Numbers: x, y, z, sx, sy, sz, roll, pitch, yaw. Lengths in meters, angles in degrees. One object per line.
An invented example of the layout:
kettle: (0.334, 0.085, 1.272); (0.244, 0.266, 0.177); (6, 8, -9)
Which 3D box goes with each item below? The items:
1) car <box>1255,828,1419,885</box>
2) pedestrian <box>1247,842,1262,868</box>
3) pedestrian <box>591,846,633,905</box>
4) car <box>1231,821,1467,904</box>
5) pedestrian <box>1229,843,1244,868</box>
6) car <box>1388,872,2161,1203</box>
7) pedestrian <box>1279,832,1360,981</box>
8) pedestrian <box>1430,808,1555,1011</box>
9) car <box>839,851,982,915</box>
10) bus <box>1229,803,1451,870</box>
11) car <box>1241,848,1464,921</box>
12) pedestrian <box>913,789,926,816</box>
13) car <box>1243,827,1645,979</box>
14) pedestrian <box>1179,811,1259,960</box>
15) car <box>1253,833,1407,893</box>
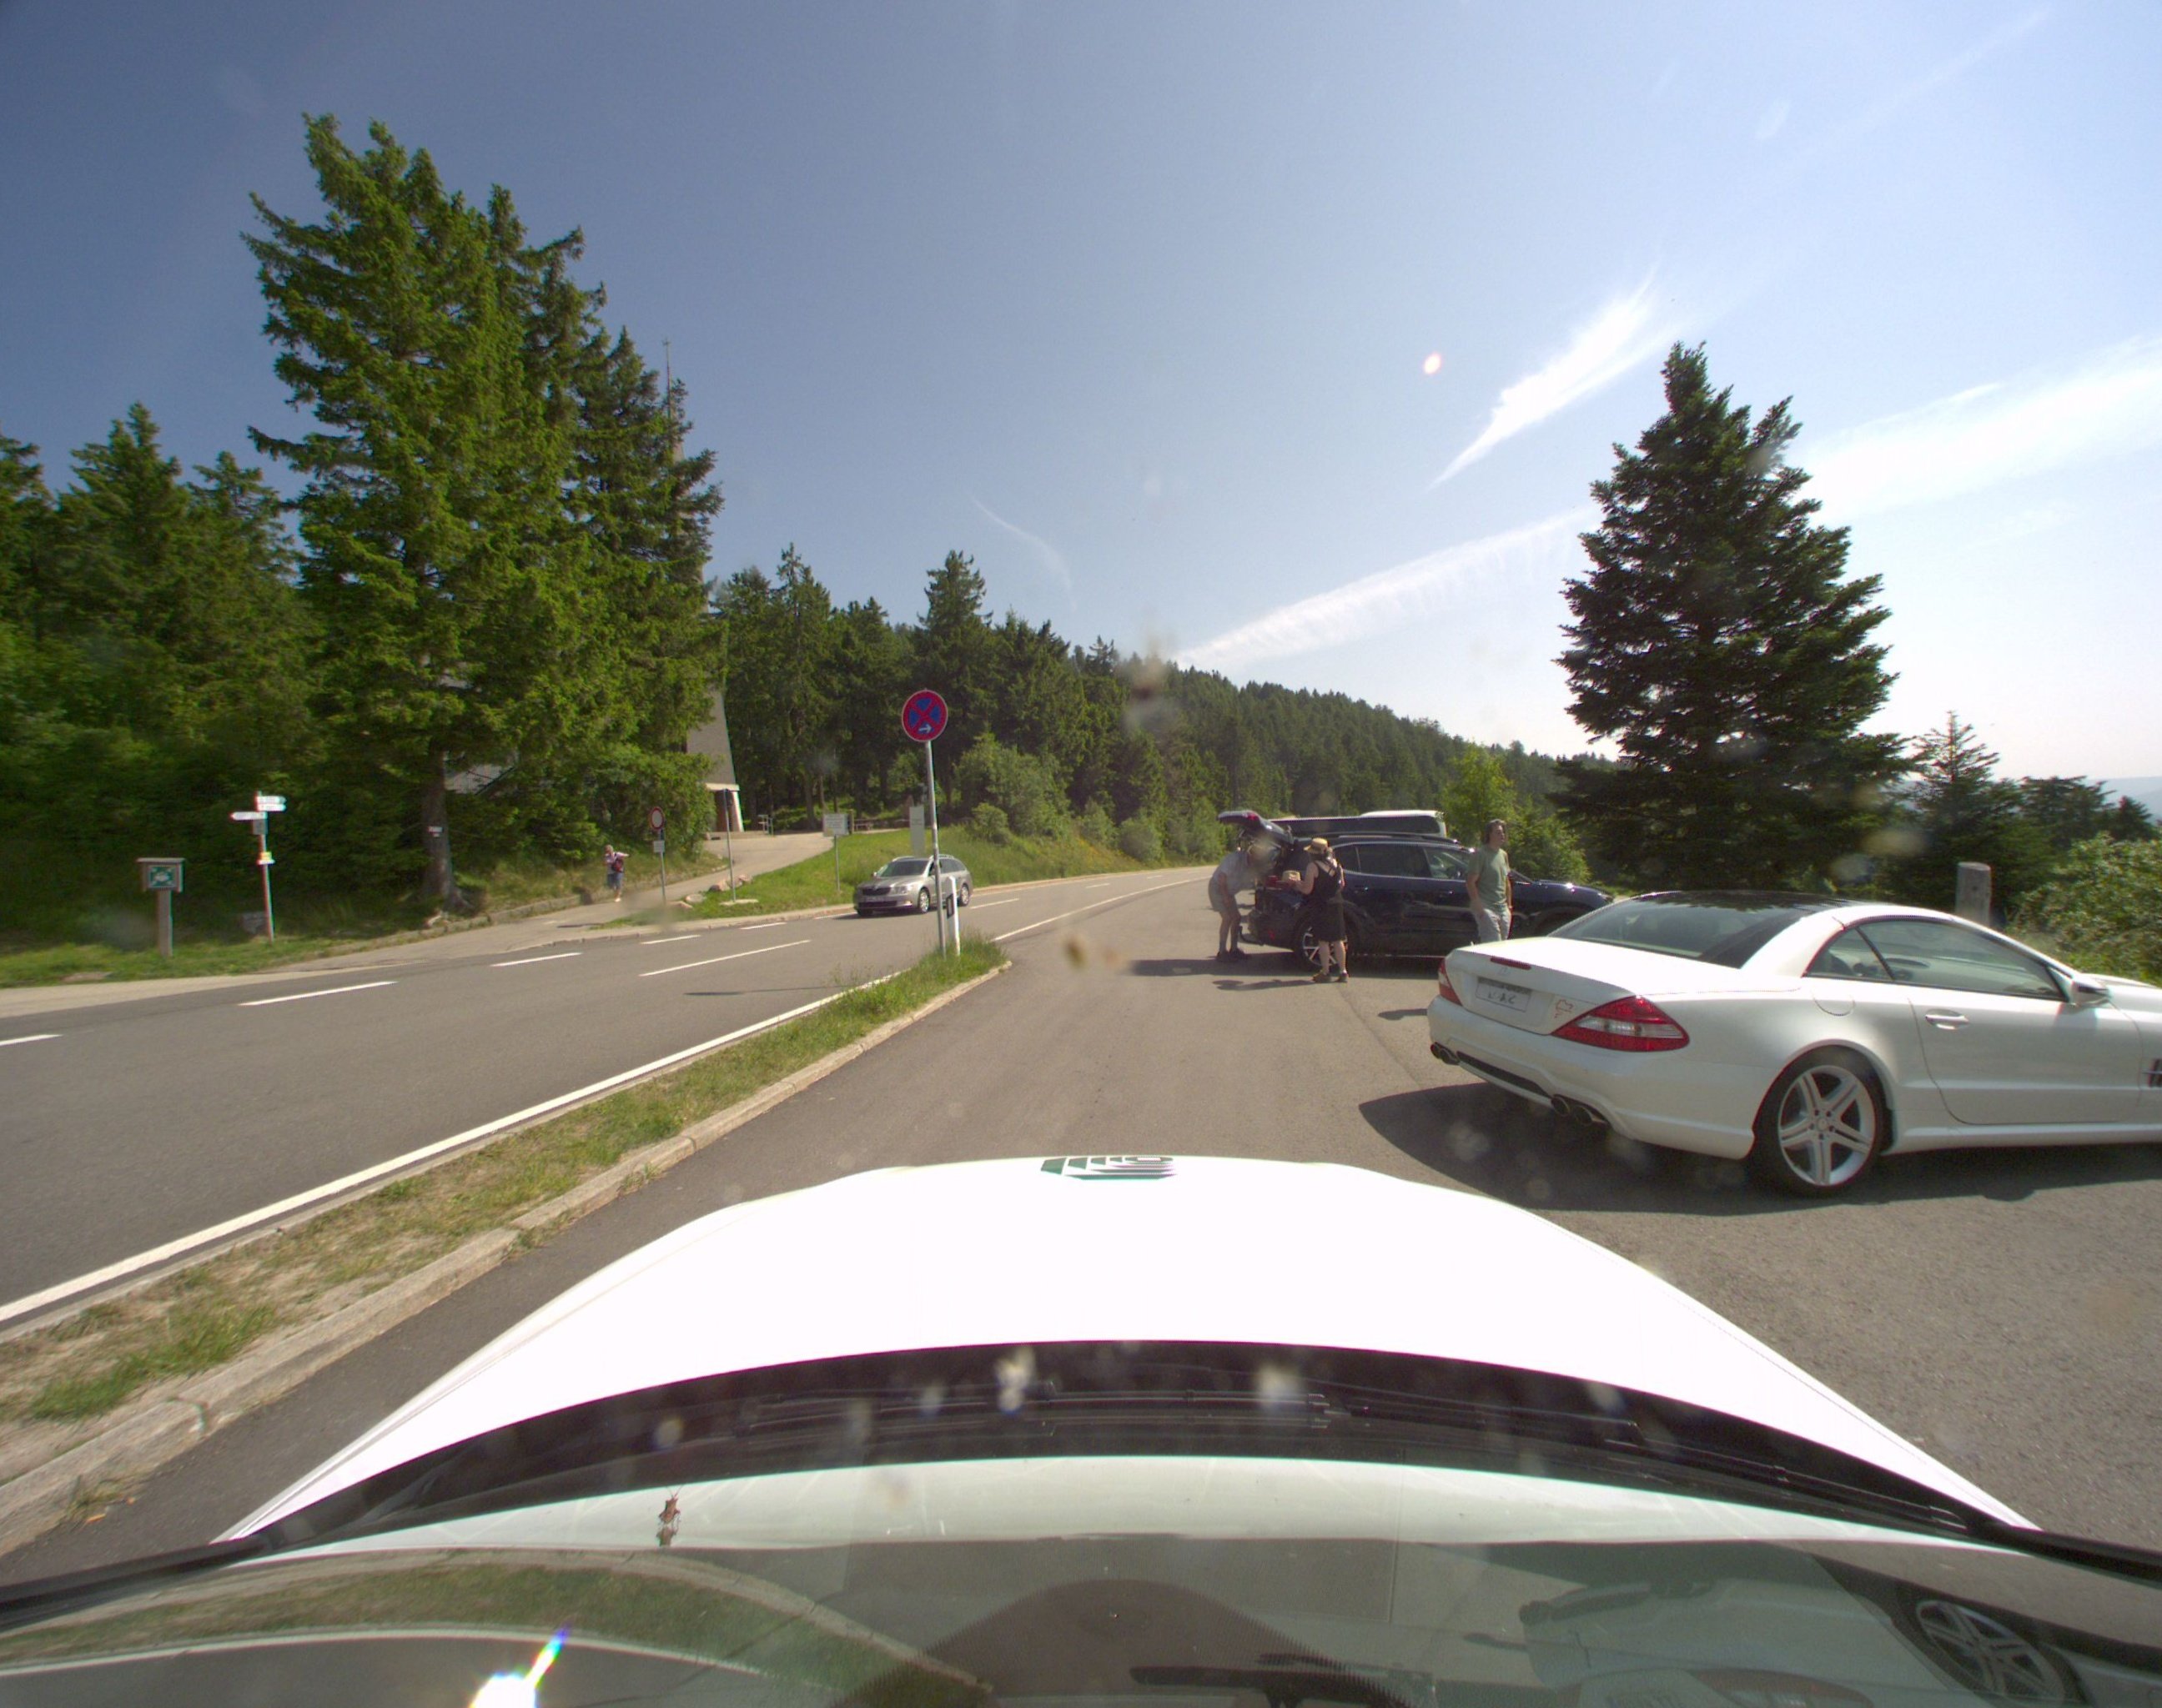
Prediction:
car: (8.472, 0.084, 27.298); (4.998, 1.651, 2.055); (-3, 0, 13)
pedestrian: (10.909, 0.047, 51.190); (0.764, 1.585, 0.776); (-3, 0, 20)
pedestrian: (-13.808, 0.614, 23.992); (0.716, 1.681, 0.684); (-3, 0, 6)
car: (6.111, 0.203, 18.992); (4.911, 1.695, 1.953); (-2, 0, 15)
pedestrian: (9.888, 0.095, 51.775); (0.764, 1.585, 0.776); (-3, 0, 20)
car: (4.238, 0.803, 4.623); (4.397, 1.296, 1.750); (1, 1, -10)
pedestrian: (2.676, 0.572, 9.169); (0.713, 1.613, 0.535); (0, -1, -7)
pedestrian: (3.866, 0.491, 7.689); (0.748, 1.800, 0.731); (0, -1, -19)
car: (-4.395, 0.701, 21.868); (1.866, 1.474, 4.732); (-1, 0, 14)
bus: (16.215, -1.001, 51.586); (12.976, 3.532, 3.061); (-3, 0, 23)
car: (5.351, 0.571, 16.513); (4.059, 1.376, 1.706); (0, 0, 7)
pedestrian: (-11.629, -3.700, 58.615); (0.545, 1.878, 0.674); (-3, 0, -44)
car: (4.323, 0.547, 10.364); (4.319, 1.626, 1.874); (1, 0, 8)
pedestrian: (1.829, 0.379, 10.797); (0.728, 1.870, 0.763); (1, 3, 44)
car: (7.396, 0.272, 24.527); (4.214, 1.554, 1.845); (-3, 0, 13)
